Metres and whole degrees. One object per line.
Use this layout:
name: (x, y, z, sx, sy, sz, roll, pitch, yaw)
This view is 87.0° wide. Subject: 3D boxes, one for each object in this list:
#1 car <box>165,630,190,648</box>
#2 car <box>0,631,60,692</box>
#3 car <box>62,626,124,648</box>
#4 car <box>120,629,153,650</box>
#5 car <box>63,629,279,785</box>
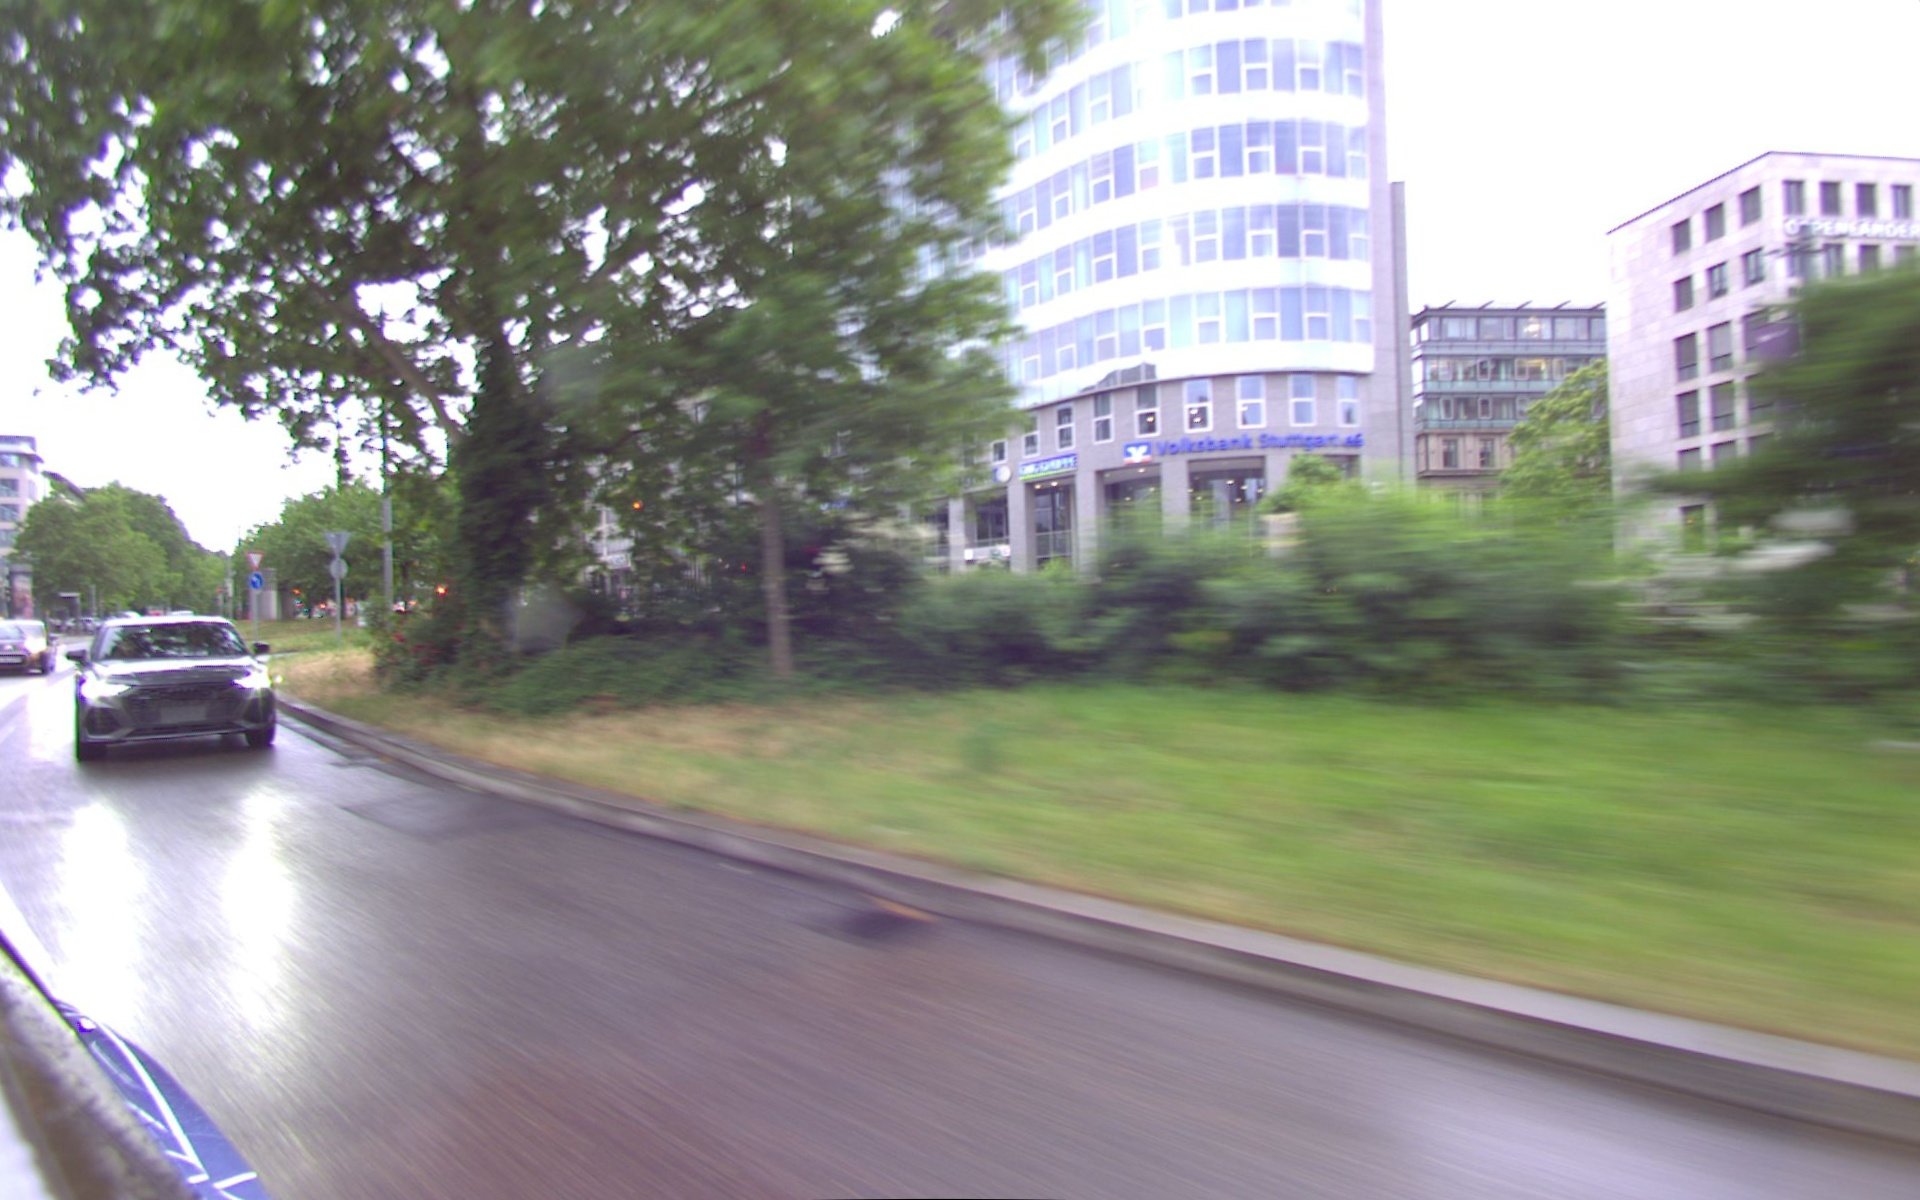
car: (-65.021, 3.215, 84.061, 1.581, 1.395, 3.025, -3, 1, -38)
car: (-25.810, 1.636, 27.603, 1.570, 1.522, 3.717, -1, 0, -37)
car: (-84.076, 3.537, 98.130, 4.150, 1.826, 2.002, -3, 0, -3)
car: (-71.189, 3.408, 87.494, 2.041, 1.599, 4.116, -3, 1, -38)
car: (-9.923, 1.156, 12.605, 1.838, 1.529, 4.351, -1, 0, -41)
